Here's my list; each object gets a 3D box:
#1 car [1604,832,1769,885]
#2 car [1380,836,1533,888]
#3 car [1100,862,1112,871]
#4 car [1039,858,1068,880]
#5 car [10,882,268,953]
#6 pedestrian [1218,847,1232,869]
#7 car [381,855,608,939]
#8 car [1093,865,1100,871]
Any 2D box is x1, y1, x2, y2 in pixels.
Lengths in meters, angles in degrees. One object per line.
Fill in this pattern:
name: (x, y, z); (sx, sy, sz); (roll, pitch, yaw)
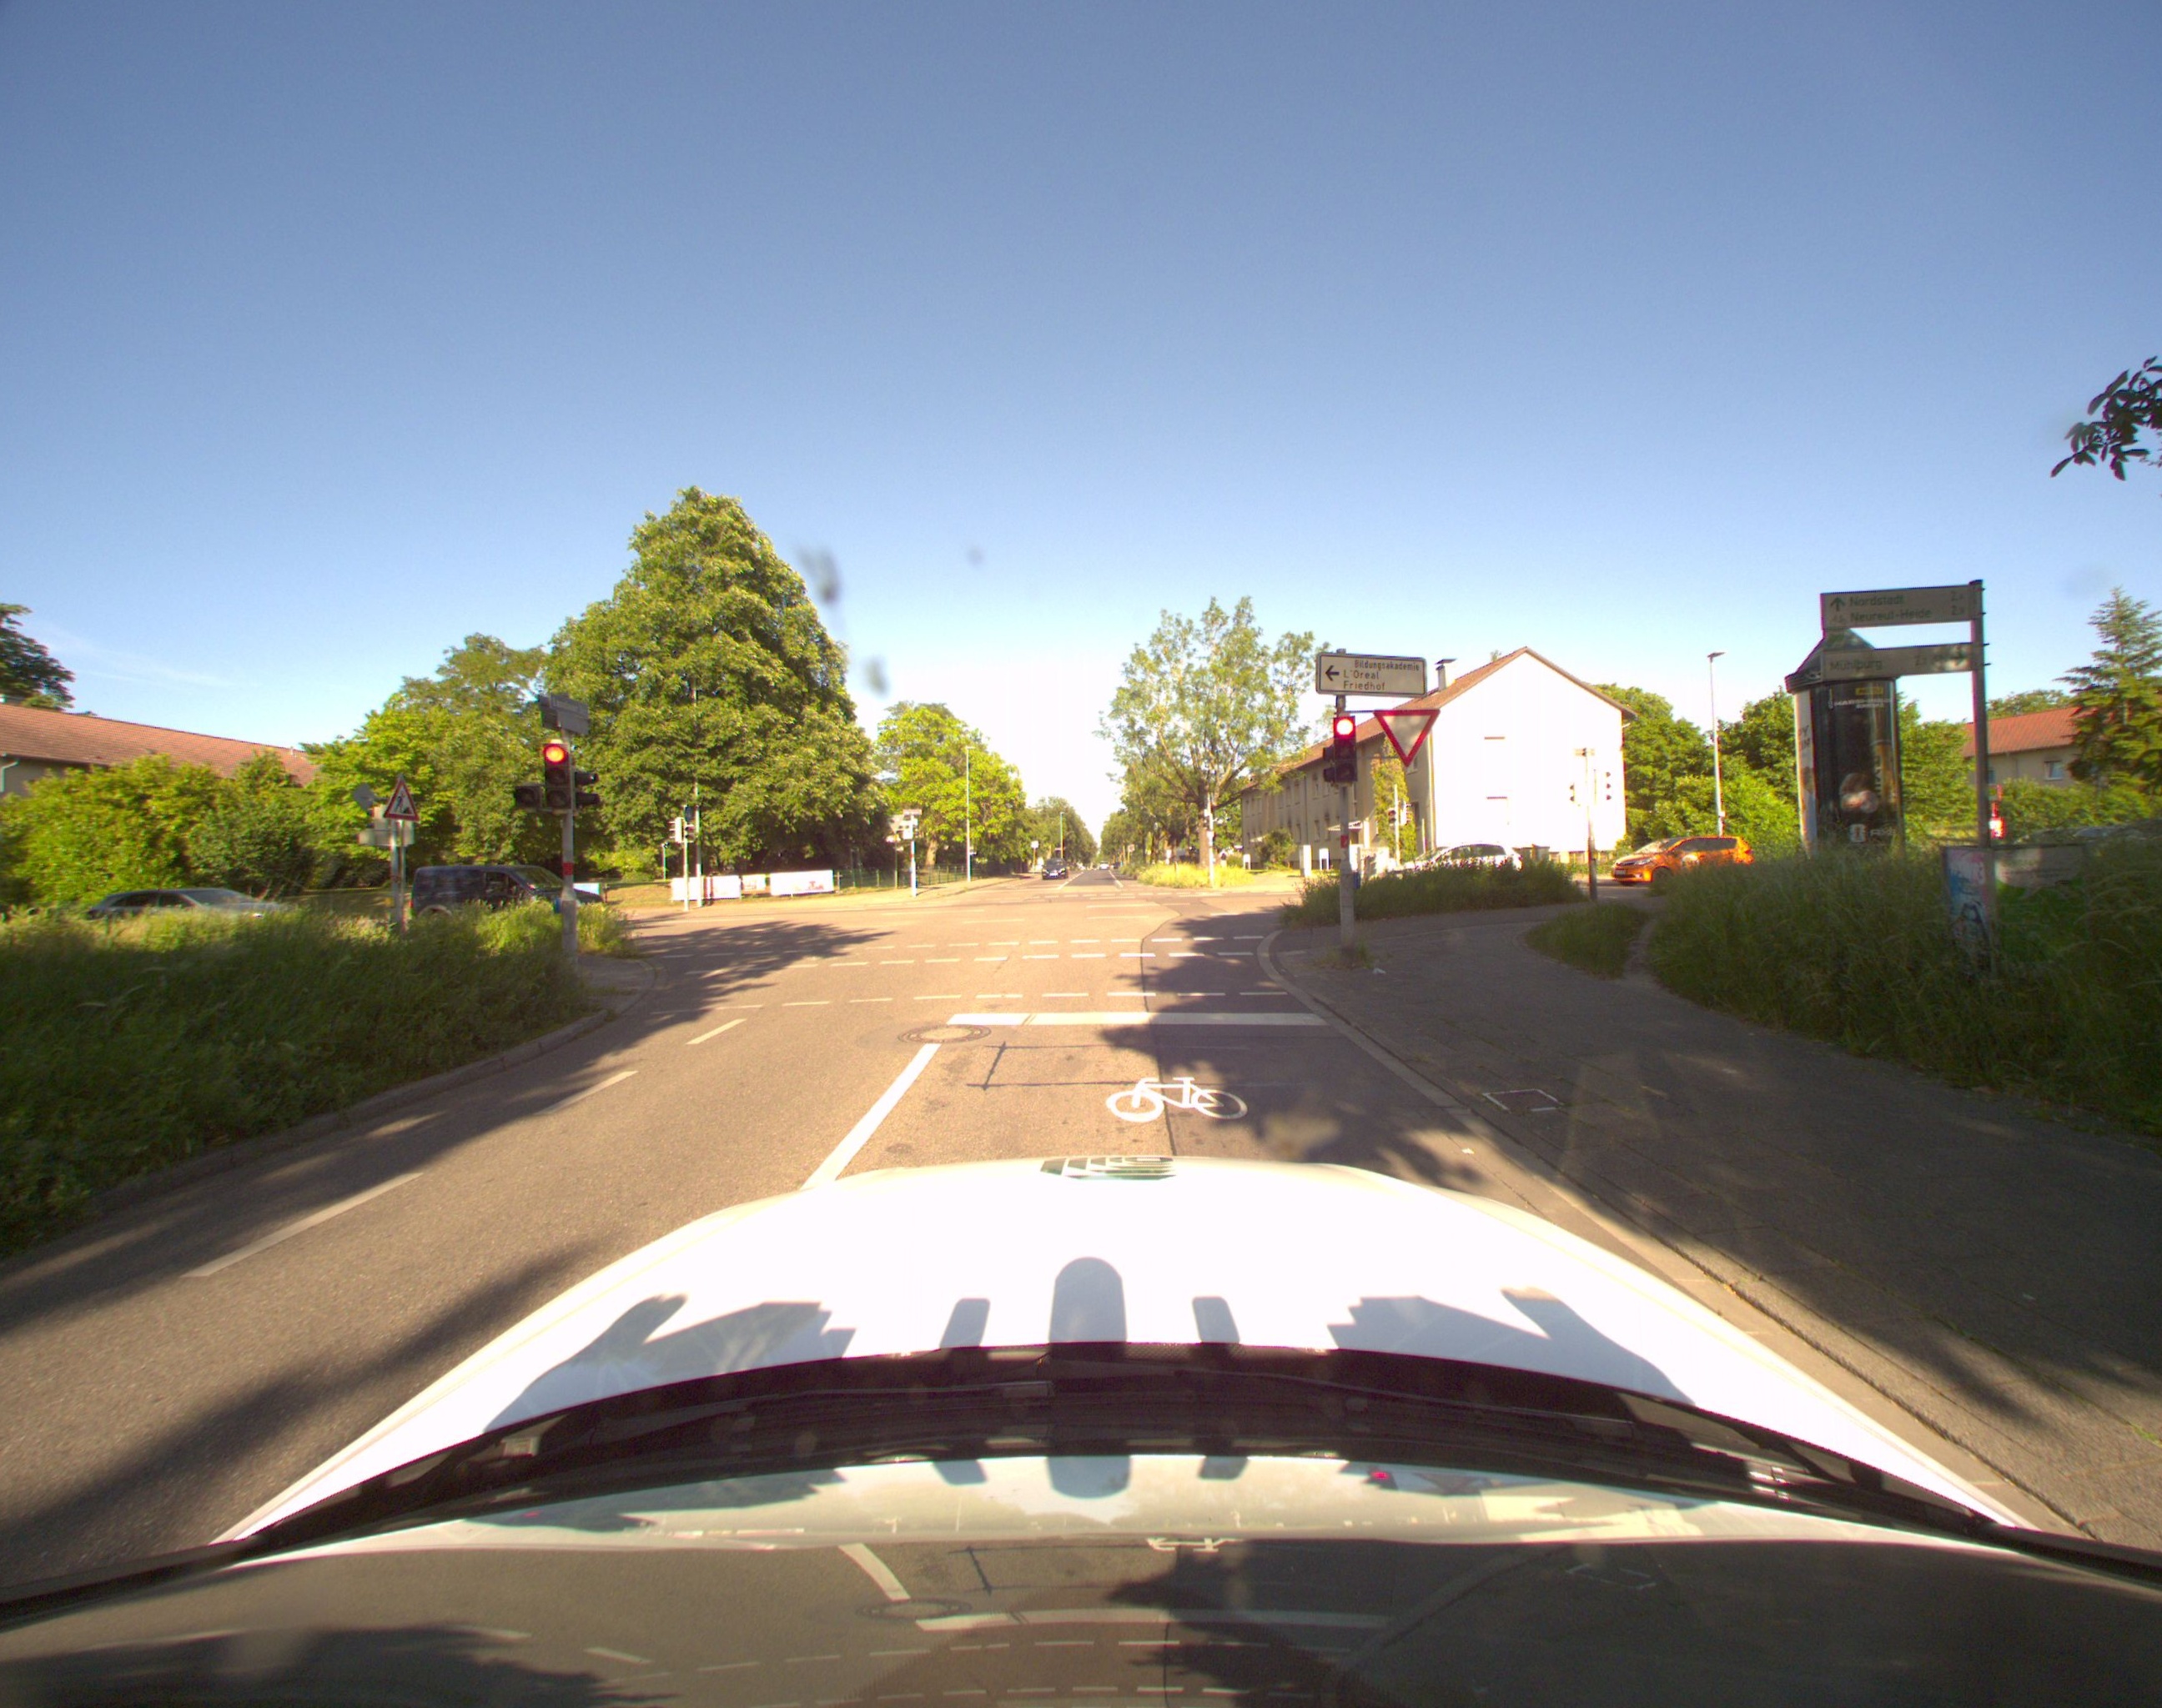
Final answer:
car: (19.184, 0.142, 25.913); (3.975, 1.582, 1.756); (0, -1, -1)
car: (11.958, 0.252, 26.098); (4.095, 1.563, 1.756); (0, -1, -1)
car: (4.161, 2.099, 135.592); (1.838, 1.461, 3.531); (-1, 0, 1)
car: (-1.848, 0.997, 55.910); (1.704, 1.385, 3.473); (-1, 0, 3)
car: (-24.092, 1.583, 20.961); (4.270, 1.489, 1.913); (-2, 0, -1)
pedestrian: (10.167, 0.282, 57.483); (0.838, 1.493, 0.924); (1, 0, 1)
car: (-14.885, 1.044, 20.864); (4.334, 1.887, 1.858); (-2, 0, -3)
car: (4.410, 3.896, 230.175); (1.751, 1.624, 3.271); (-1, 0, 3)
